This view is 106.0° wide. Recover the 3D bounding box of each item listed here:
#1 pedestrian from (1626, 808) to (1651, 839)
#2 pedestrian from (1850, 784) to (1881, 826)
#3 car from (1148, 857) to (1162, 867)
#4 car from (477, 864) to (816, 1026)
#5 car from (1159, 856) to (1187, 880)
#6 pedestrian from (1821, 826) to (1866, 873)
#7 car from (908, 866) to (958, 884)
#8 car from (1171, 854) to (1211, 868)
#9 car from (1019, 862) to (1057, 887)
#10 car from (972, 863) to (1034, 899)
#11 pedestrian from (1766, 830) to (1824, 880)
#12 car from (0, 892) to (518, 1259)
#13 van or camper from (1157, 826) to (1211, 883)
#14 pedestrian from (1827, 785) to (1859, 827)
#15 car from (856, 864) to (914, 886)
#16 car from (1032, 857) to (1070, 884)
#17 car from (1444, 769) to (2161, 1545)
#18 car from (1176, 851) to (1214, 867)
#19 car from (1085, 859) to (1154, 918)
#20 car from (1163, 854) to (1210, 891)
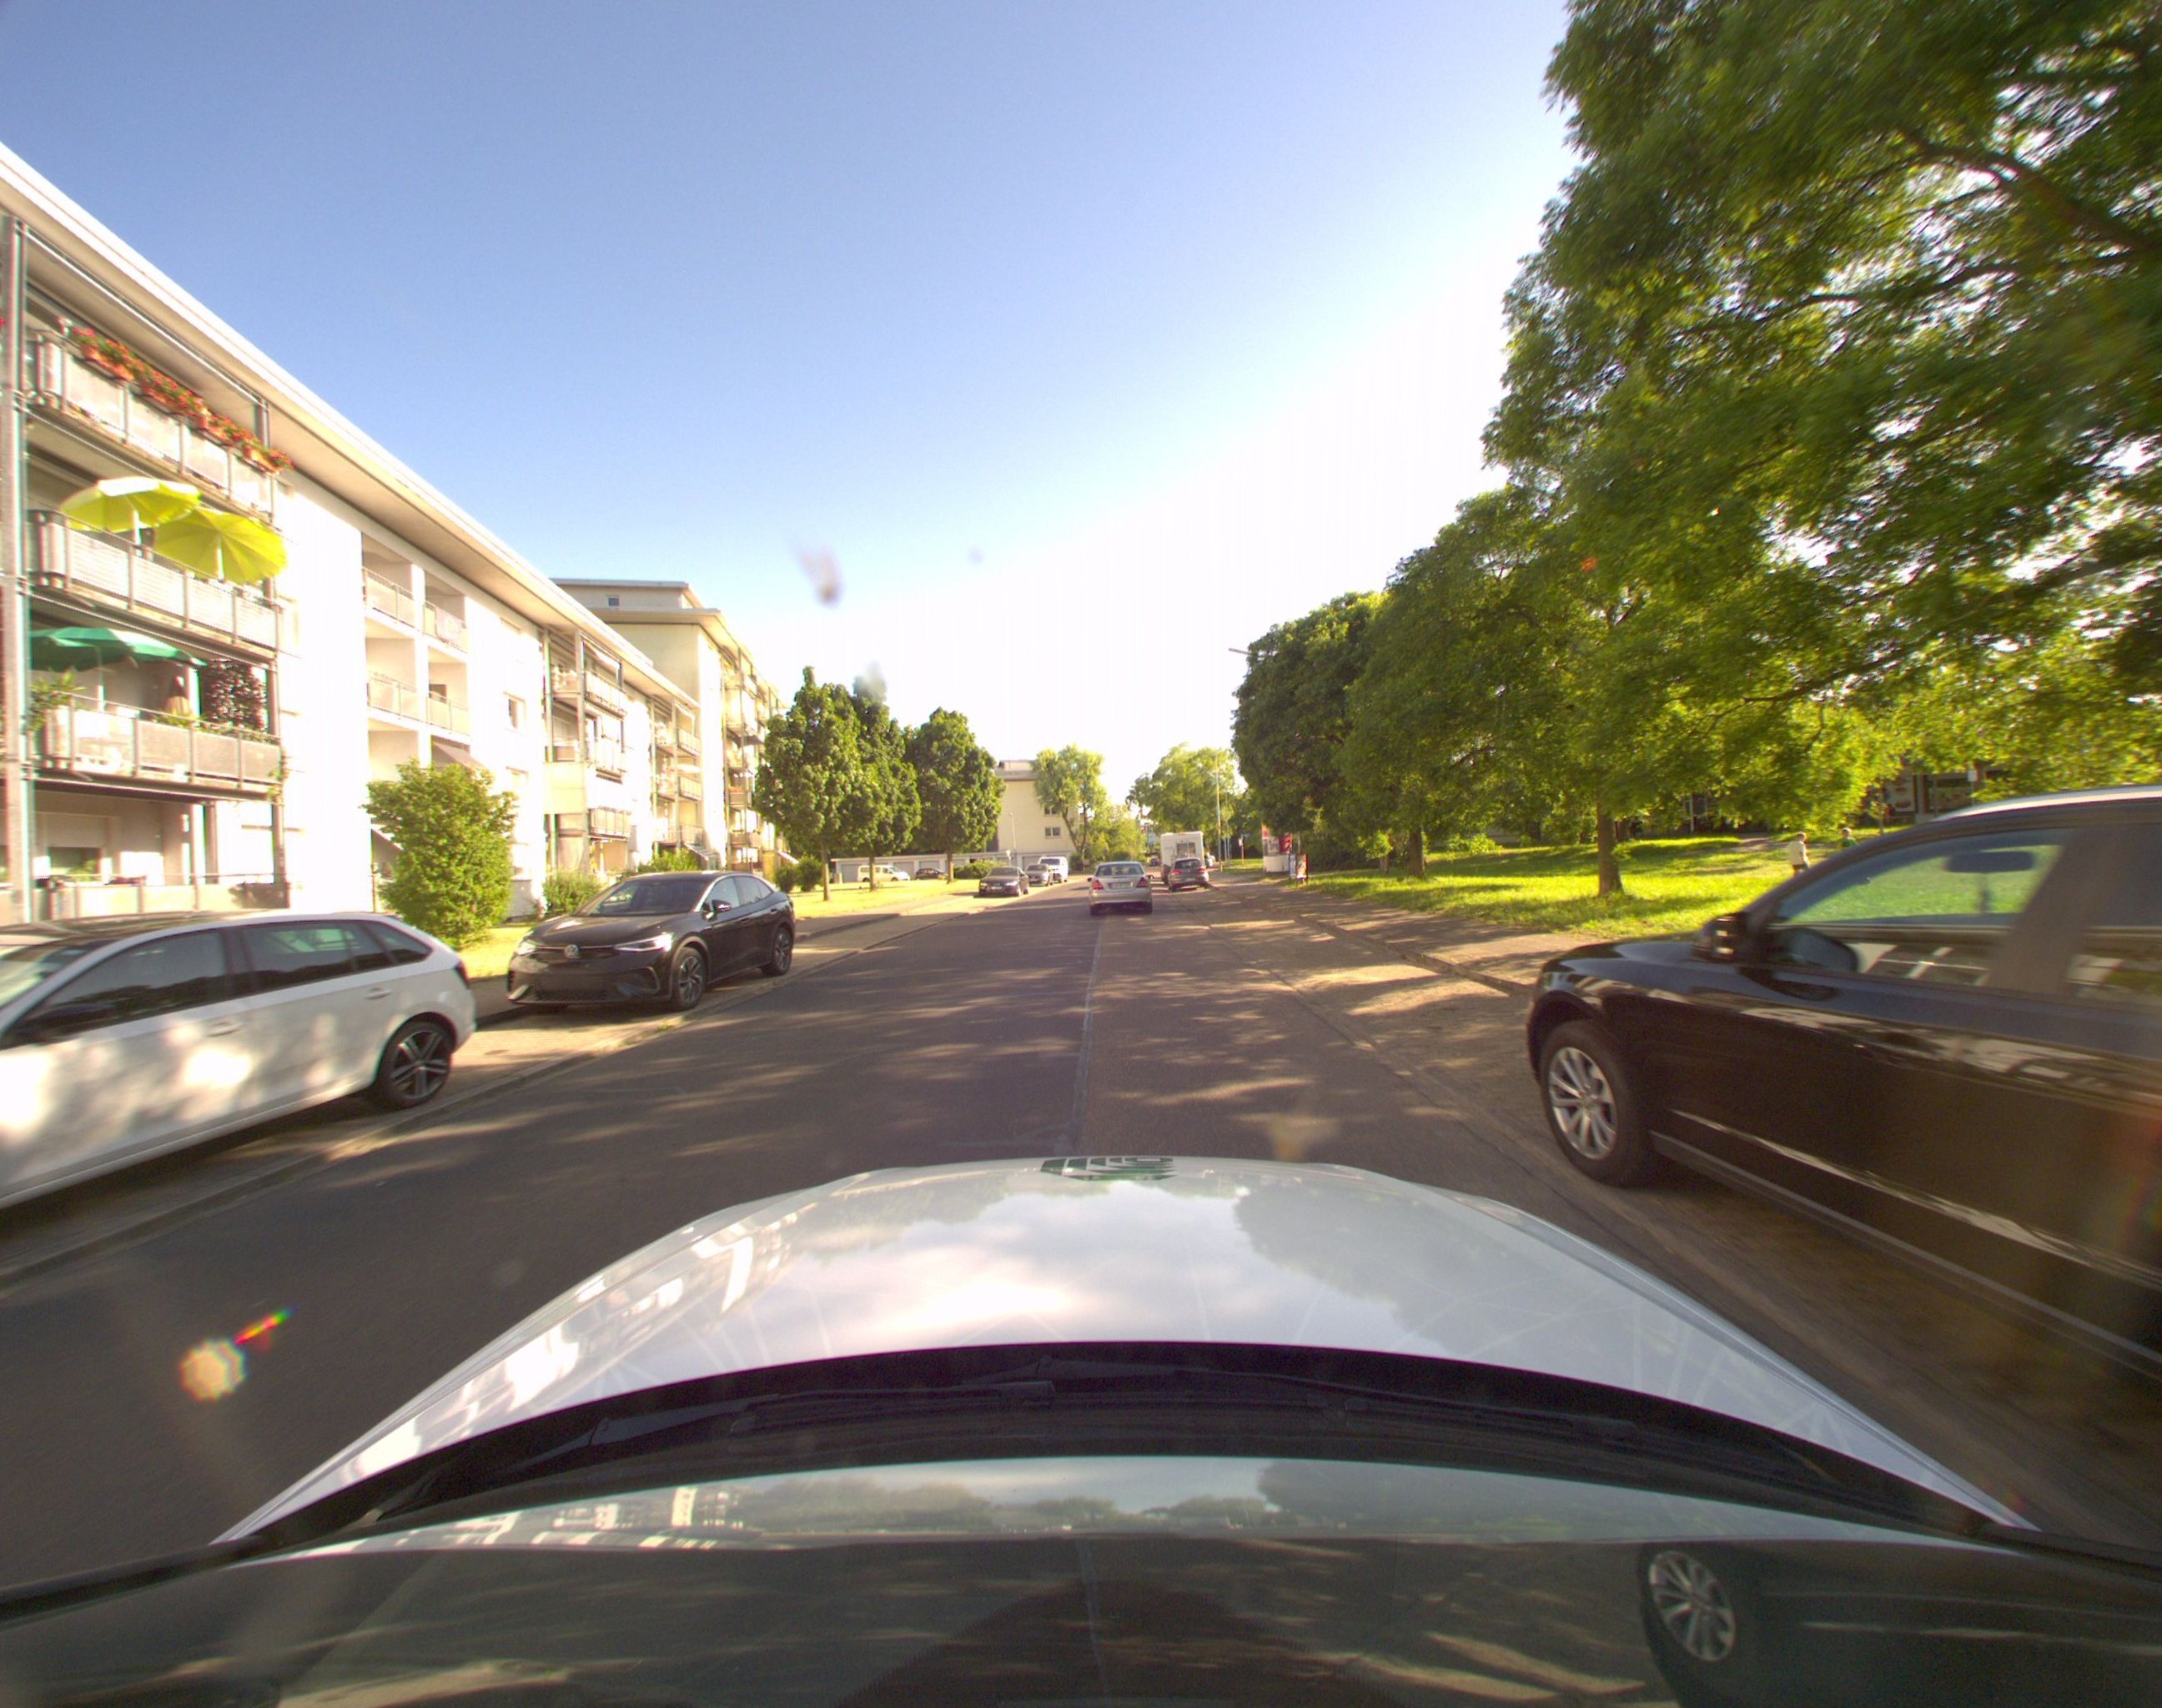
[{"bbox_3d":[29.722,-1.609,43.452,0.846,1.576,1.096,-4,-1,24],"label":"pedestrian"},{"bbox_3d":[38.622,-2.416,40.099,0.637,2.013,0.834,-3,-1,-23],"label":"pedestrian"},{"bbox_3d":[13.025,1.429,143.606,1.900,1.490,3.850,-5,-1,12],"label":"car"},{"bbox_3d":[-5.393,0.995,11.042,1.908,1.604,4.812,-3,-1,0],"label":"car"},{"bbox_3d":[6.138,0.913,54.679,1.683,1.474,4.005,-3,-1,5],"label":"car"},{"bbox_3d":[18.580,-0.101,19.846,0.634,1.088,0.505,-4,0,-18],"label":"pedestrian"},{"bbox_3d":[-14.859,2.104,81.686,4.413,1.460,2.049,-3,0,11],"label":"car"},{"bbox_3d":[13.552,0.848,100.453,4.757,1.549,2.015,-3,-1,7],"label":"car"},{"bbox_3d":[-2.740,1.301,52.603,1.824,1.518,4.227,-1,-1,5],"label":"car"},{"bbox_3d":[-3.689,1.253,39.573,2.025,1.493,5.262,-3,0,4],"label":"car"},{"bbox_3d":[16.273,0.024,18.582,0.715,1.088,0.707,-4,0,18],"label":"pedestrian"},{"bbox_3d":[-5.532,1.066,4.515,1.640,1.466,4.333,-2,0,2],"label":"car"},{"bbox_3d":[5.678,0.019,45.835,2.485,2.845,6.858,-3,0,4],"label":"van or camper"},{"bbox_3d":[38.282,-2.387,40.915,0.635,2.013,0.853,-3,-1,-12],"label":"pedestrian"},{"bbox_3d":[-19.894,2.110,82.745,5.071,1.951,2.245,-3,-1,12],"label":"car"},{"bbox_3d":[-2.099,1.168,59.095,2.004,1.886,5.198,-1,-1,6],"label":"car"},{"bbox_3d":[3.212,0.574,2.542,1.988,1.640,4.535,-4,0,-1],"label":"car"},{"bbox_3d":[15.458,0.672,110.397,4.865,1.924,2.001,-3,-1,2],"label":"car"},{"bbox_3d":[1.153,0.921,22.832,1.725,1.434,3.443,-3,-1,5],"label":"car"},{"bbox_3d":[4.957,0.838,38.739,1.713,1.524,4.432,-6,0,3],"label":"car"}]
